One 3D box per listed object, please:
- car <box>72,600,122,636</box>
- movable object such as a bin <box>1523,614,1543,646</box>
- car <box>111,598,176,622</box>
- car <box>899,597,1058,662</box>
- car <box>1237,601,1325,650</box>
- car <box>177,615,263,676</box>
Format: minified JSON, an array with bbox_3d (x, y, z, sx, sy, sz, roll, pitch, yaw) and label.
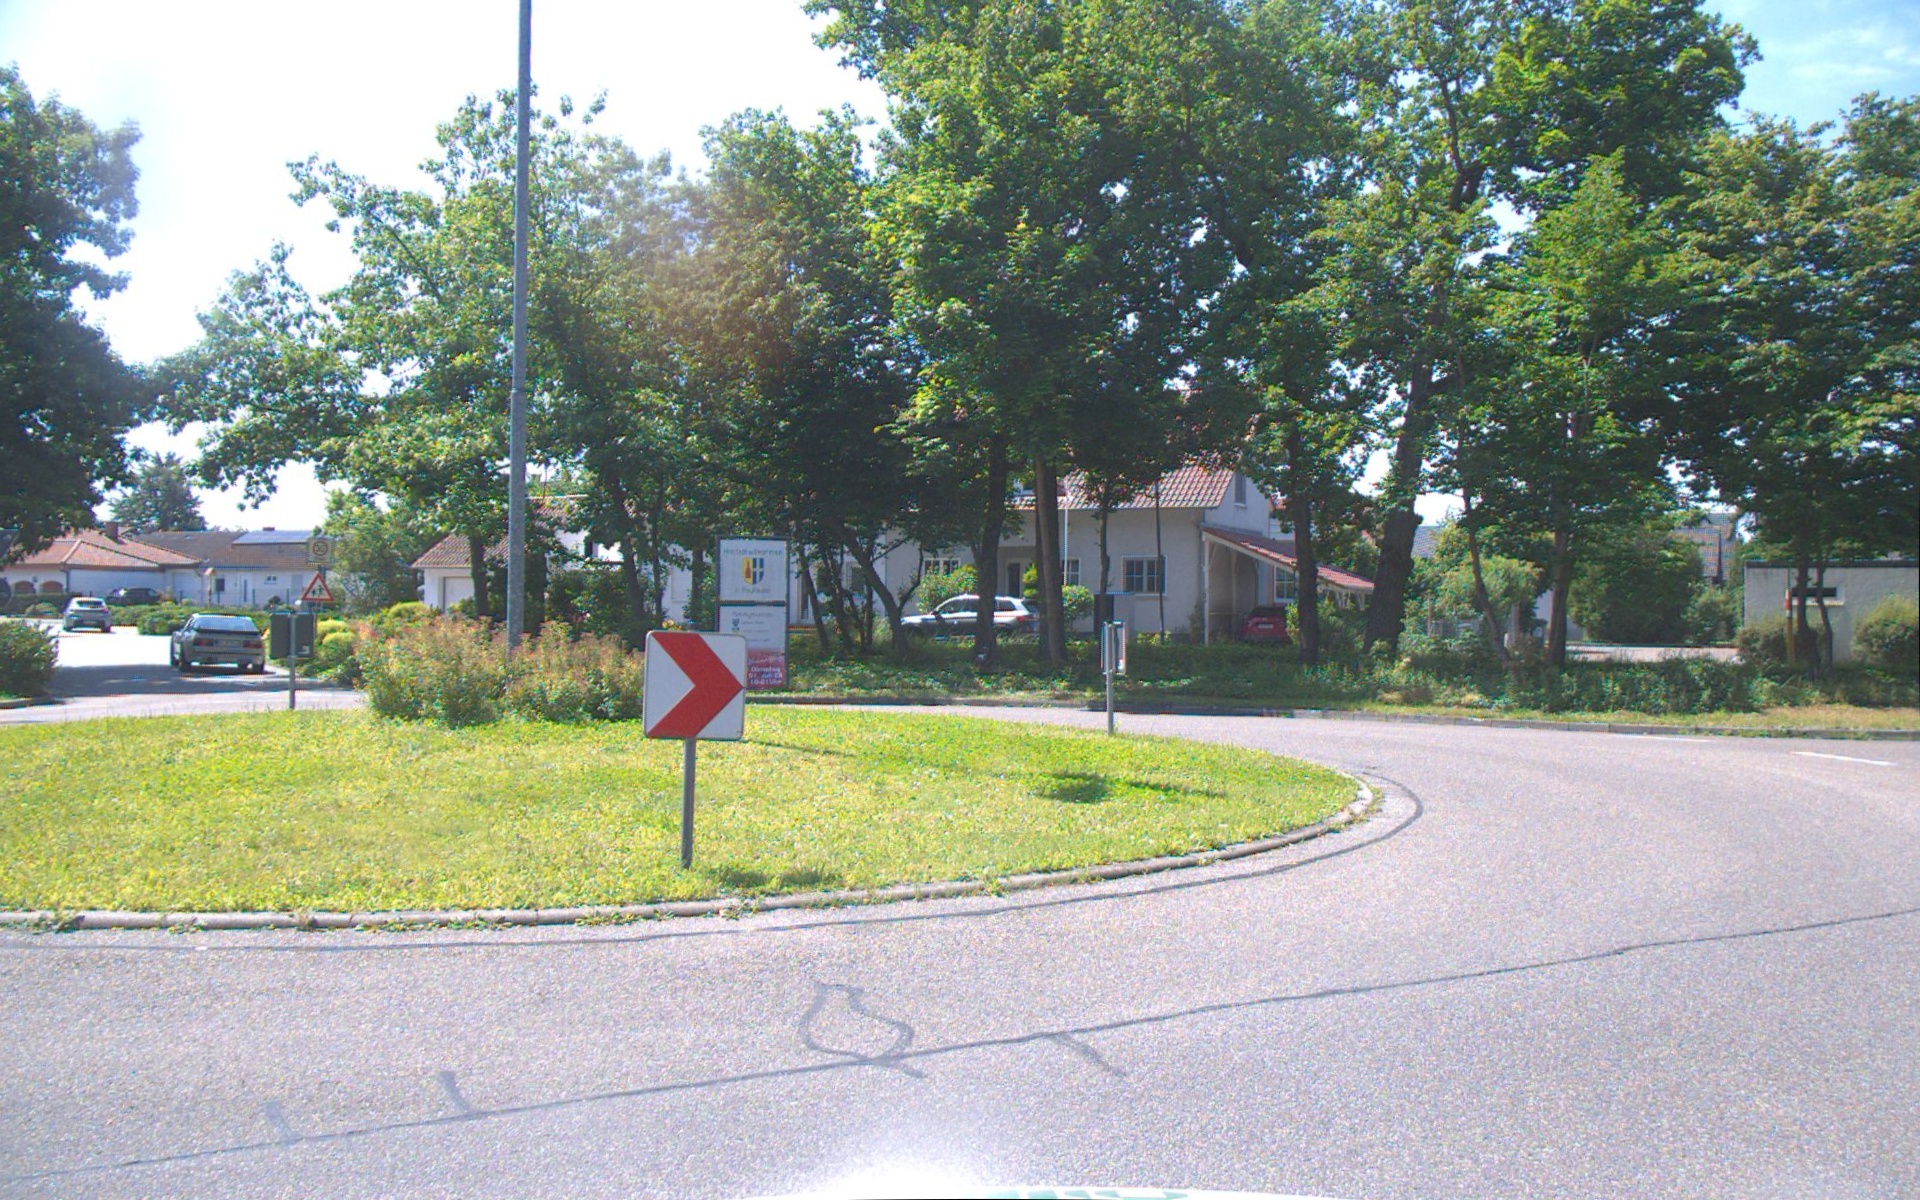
[{"bbox_3d":[-37.415,0.757,71.659,1.613,1.512,3.955,0,0,-32],"label":"car"},{"bbox_3d":[20.332,1.053,58.694,0.644,1.132,0.457,0,0,24],"label":"movable object such as a bin"},{"bbox_3d":[-54.217,0.667,109.939,1.809,1.569,3.839,0,-1,14],"label":"car"},{"bbox_3d":[0.511,0.788,45.546,4.047,1.735,1.665,0,-1,24],"label":"car"},{"bbox_3d":[9.670,0.747,49.682,1.646,1.409,3.689,0,0,27],"label":"car"},{"bbox_3d":[-16.963,1.003,37.848,1.596,1.311,3.524,1,-1,-28],"label":"car"}]
